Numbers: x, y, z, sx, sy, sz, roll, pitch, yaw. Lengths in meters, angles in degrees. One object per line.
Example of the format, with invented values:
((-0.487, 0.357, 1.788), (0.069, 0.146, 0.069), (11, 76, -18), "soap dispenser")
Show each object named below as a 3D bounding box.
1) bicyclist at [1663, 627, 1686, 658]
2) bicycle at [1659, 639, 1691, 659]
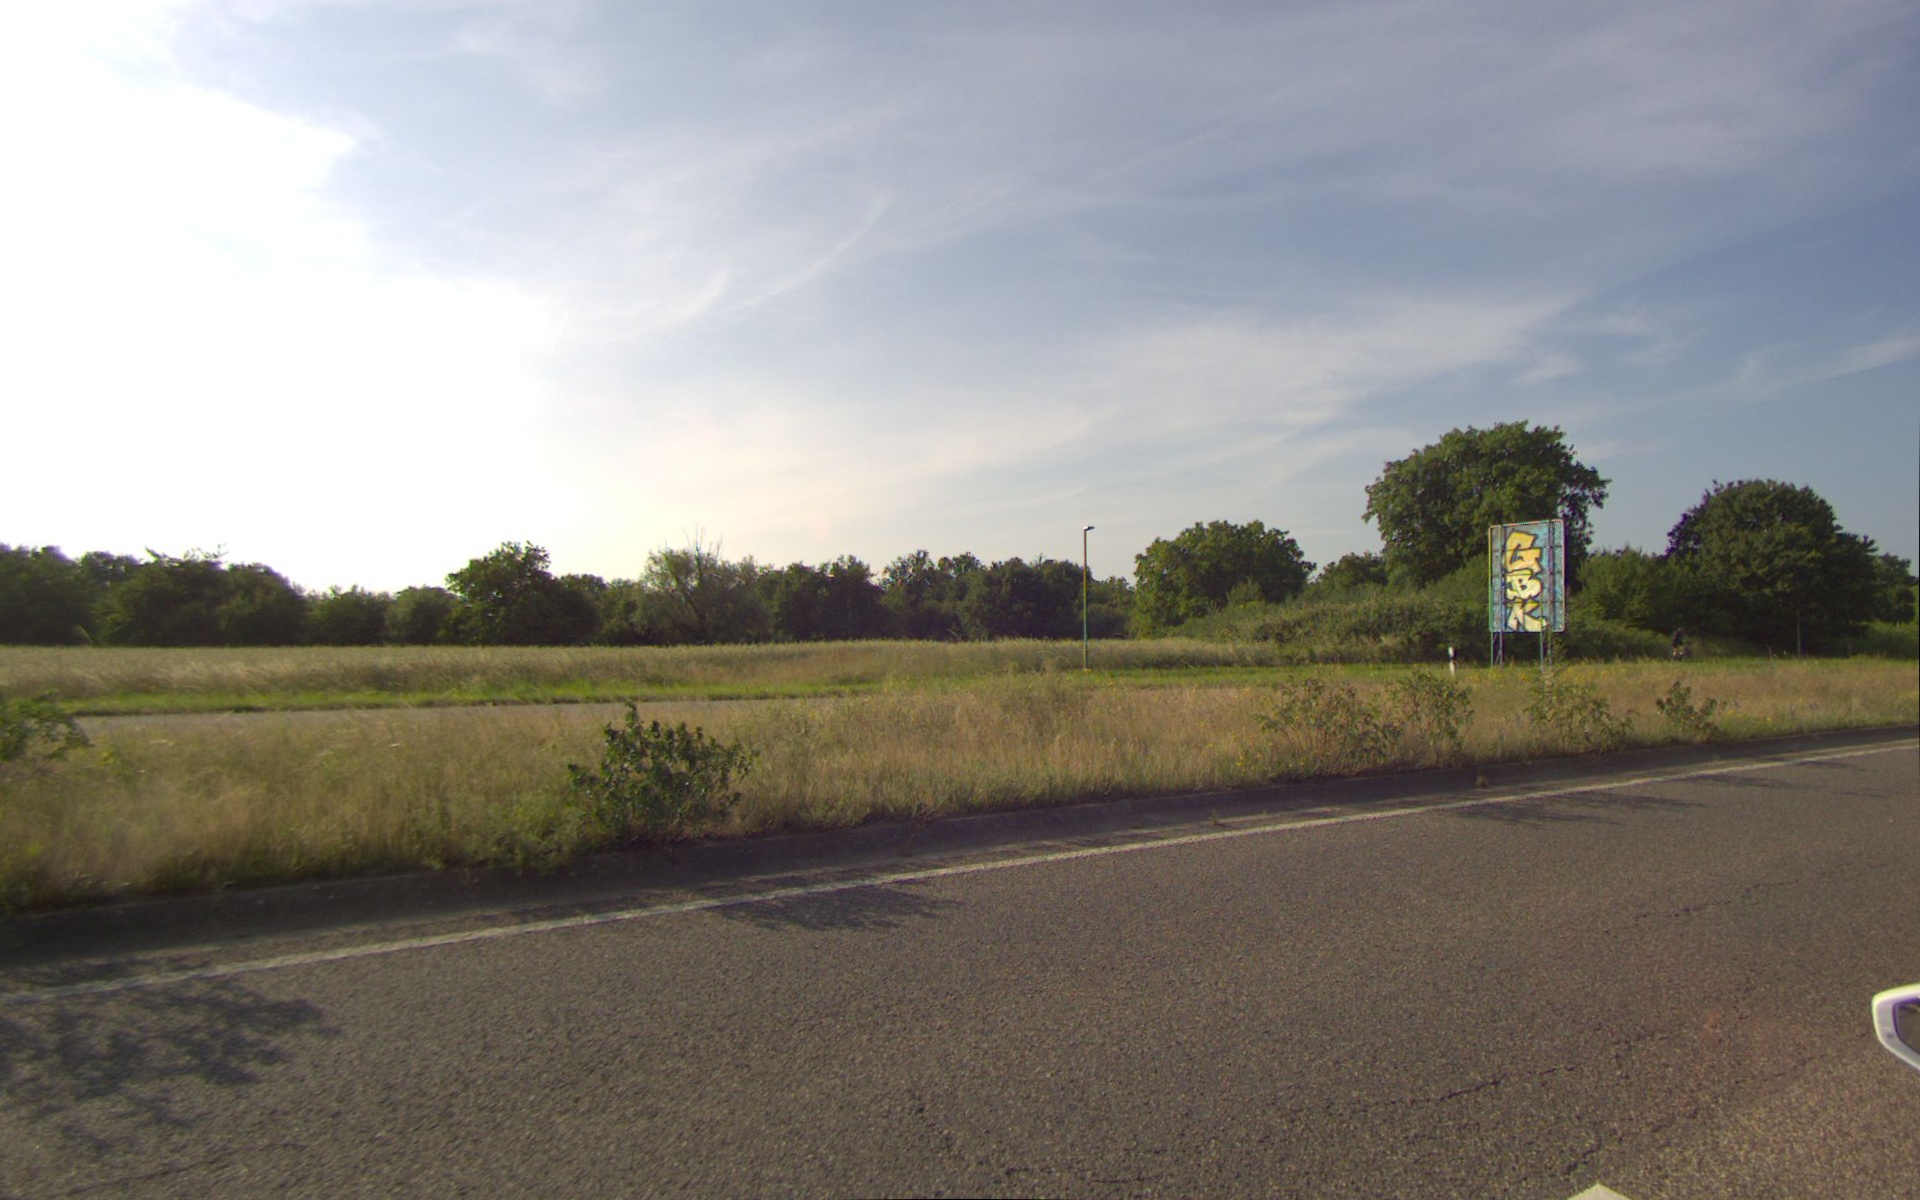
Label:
((32.646, 1.951, 45.905), (1.035, 1.408, 0.465), (1, -1, -29), "bicyclist")
((32.675, 2.252, 45.894), (1.684, 0.890, 0.527), (1, -1, -29), "bicycle")
